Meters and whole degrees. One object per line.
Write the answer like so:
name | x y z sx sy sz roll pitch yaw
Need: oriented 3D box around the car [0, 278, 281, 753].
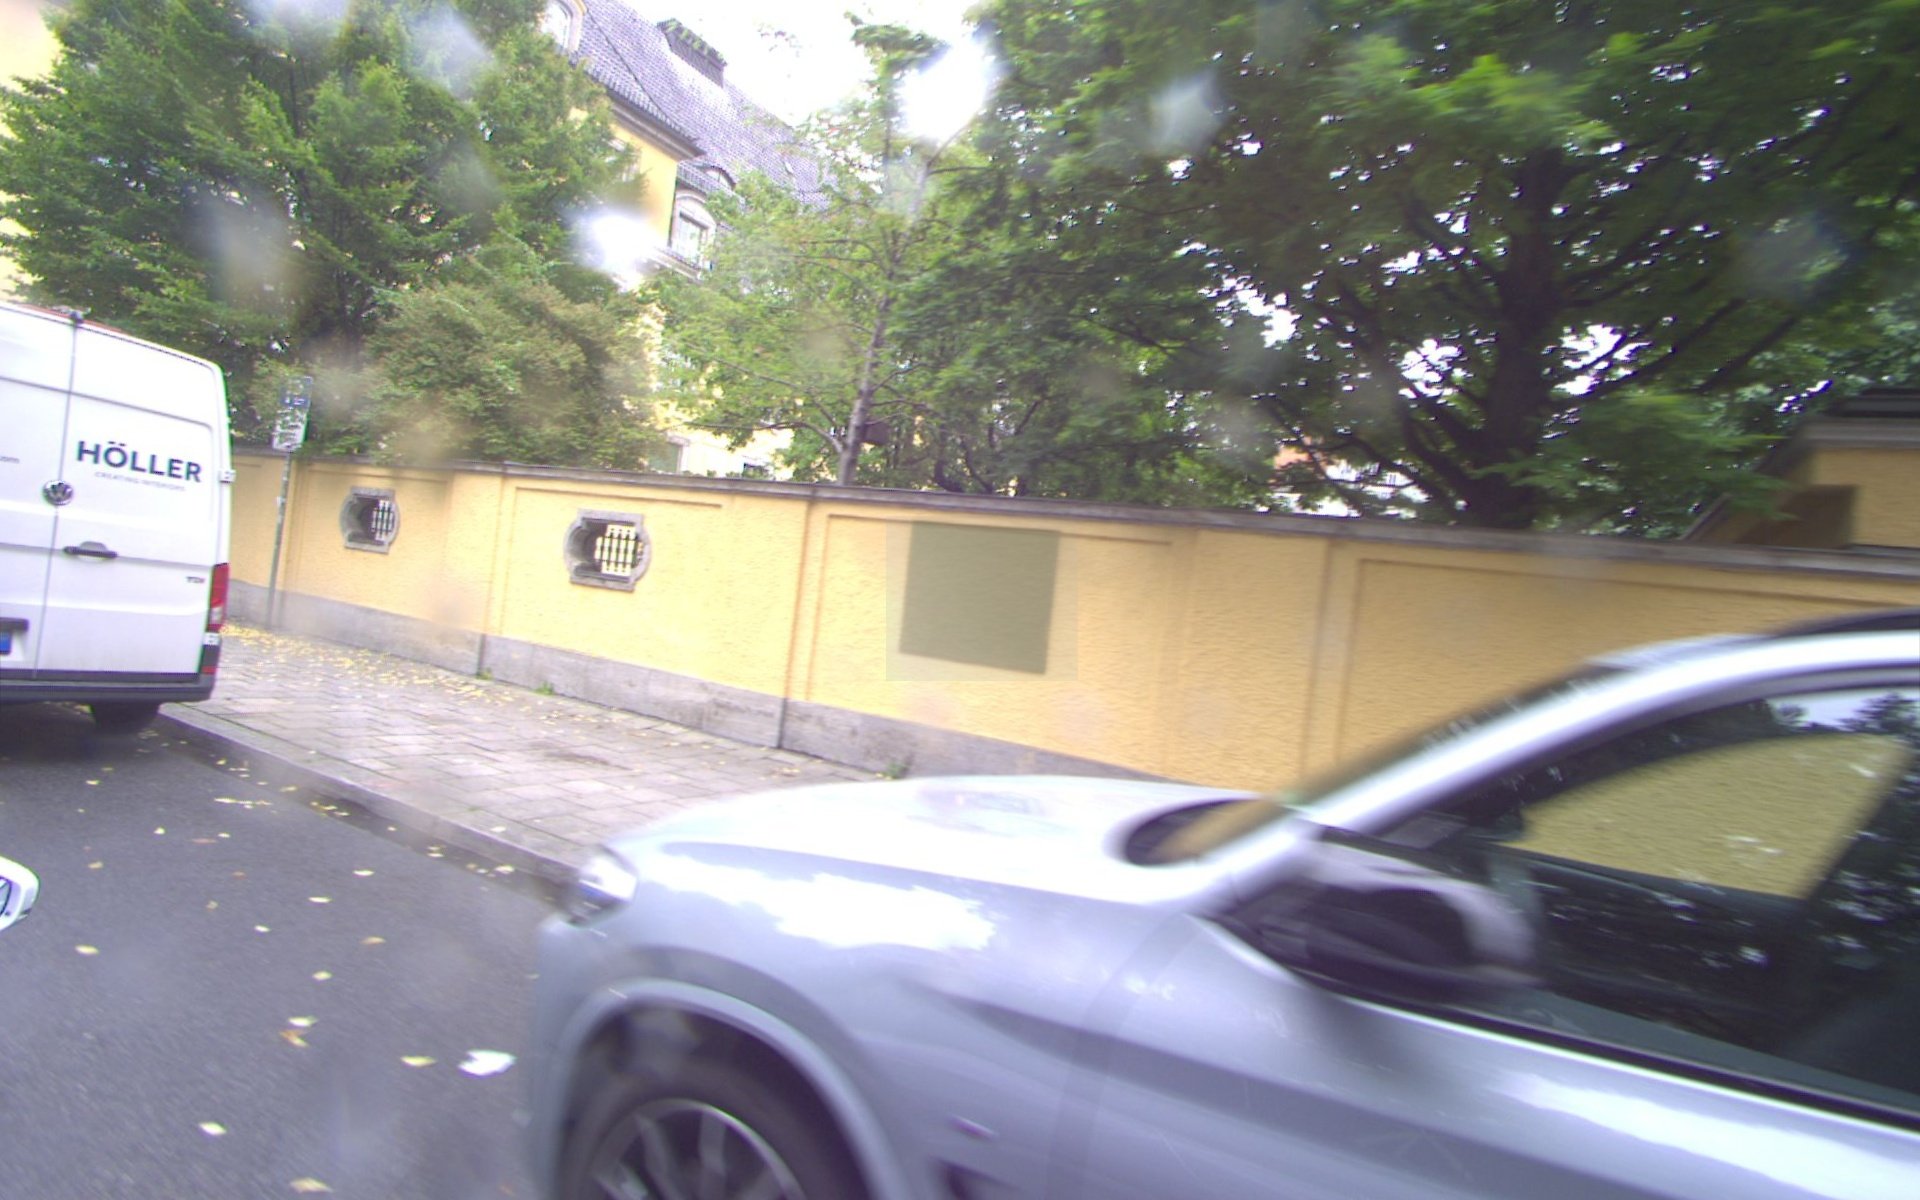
car | -7.444 -0.658 6.959 5.642 2.518 2.099 6 0 30

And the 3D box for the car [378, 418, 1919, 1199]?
car | 1.323 0.829 1.671 4.524 1.761 1.863 7 -2 30
